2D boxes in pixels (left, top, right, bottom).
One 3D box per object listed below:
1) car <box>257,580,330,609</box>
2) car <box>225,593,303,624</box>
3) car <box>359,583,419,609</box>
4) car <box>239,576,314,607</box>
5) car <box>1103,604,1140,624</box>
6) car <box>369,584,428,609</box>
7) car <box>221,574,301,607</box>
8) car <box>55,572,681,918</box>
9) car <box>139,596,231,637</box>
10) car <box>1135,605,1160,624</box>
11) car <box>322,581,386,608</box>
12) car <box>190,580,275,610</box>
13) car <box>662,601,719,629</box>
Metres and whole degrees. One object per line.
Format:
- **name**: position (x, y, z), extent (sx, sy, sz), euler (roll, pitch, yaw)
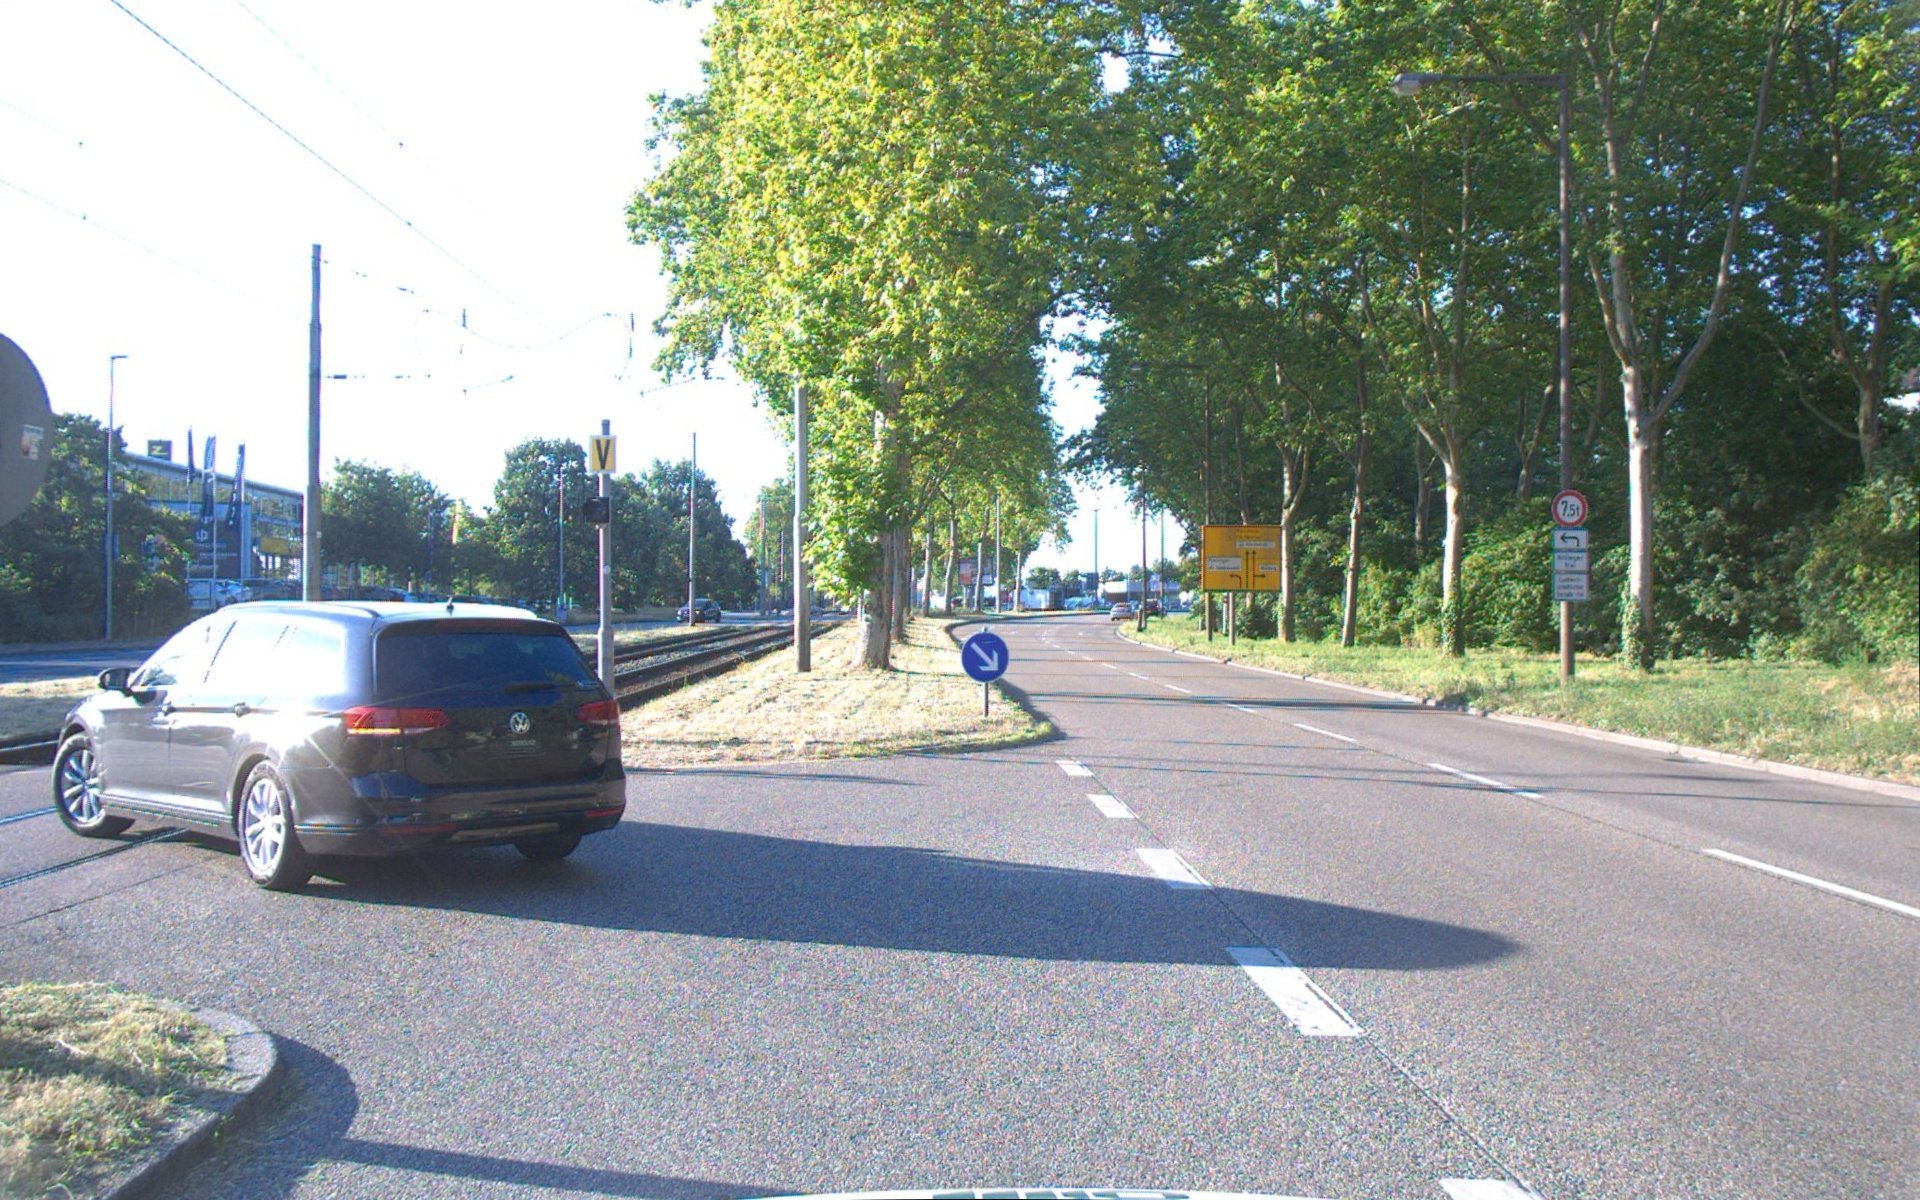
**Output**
- **car**: position (-37.827, -0.294, 93.941), extent (3.732, 1.594, 1.749), euler (1, -1, -21)
- **car**: position (-37.002, 0.450, 87.983), extent (3.732, 1.594, 1.749), euler (1, -1, -21)
- **car**: position (-37.772, -0.249, 109.445), extent (3.732, 1.594, 1.749), euler (1, -1, -21)
- **car**: position (-37.590, -0.443, 91.020), extent (3.732, 1.594, 1.749), euler (1, -1, -21)
- **car**: position (12.236, 1.070, 125.114), extent (1.951, 1.467, 4.002), euler (1, 0, 17)
- **car**: position (-38.076, -0.224, 112.226), extent (3.732, 1.594, 1.749), euler (1, -1, -21)
- **car**: position (-36.212, -0.478, 85.786), extent (3.732, 1.594, 1.749), euler (1, -1, -21)
- **car**: position (-3.627, 0.671, 9.710), extent (4.187, 1.583, 1.818), euler (0, -1, 44)
- **car**: position (-36.539, 0.789, 78.064), extent (3.732, 1.892, 1.749), euler (1, -1, -21)
- **car**: position (15.322, 1.177, 135.205), extent (1.951, 1.465, 4.003), euler (1, 0, 7)
- **car**: position (-37.820, -0.316, 103.269), extent (3.732, 1.594, 1.749), euler (1, -1, -21)
- **car**: position (-35.899, -0.224, 81.696), extent (3.732, 1.413, 1.749), euler (1, -1, -21)
- **car**: position (-16.837, 0.927, 103.430), extent (1.771, 1.713, 4.000), euler (0, 0, 21)
